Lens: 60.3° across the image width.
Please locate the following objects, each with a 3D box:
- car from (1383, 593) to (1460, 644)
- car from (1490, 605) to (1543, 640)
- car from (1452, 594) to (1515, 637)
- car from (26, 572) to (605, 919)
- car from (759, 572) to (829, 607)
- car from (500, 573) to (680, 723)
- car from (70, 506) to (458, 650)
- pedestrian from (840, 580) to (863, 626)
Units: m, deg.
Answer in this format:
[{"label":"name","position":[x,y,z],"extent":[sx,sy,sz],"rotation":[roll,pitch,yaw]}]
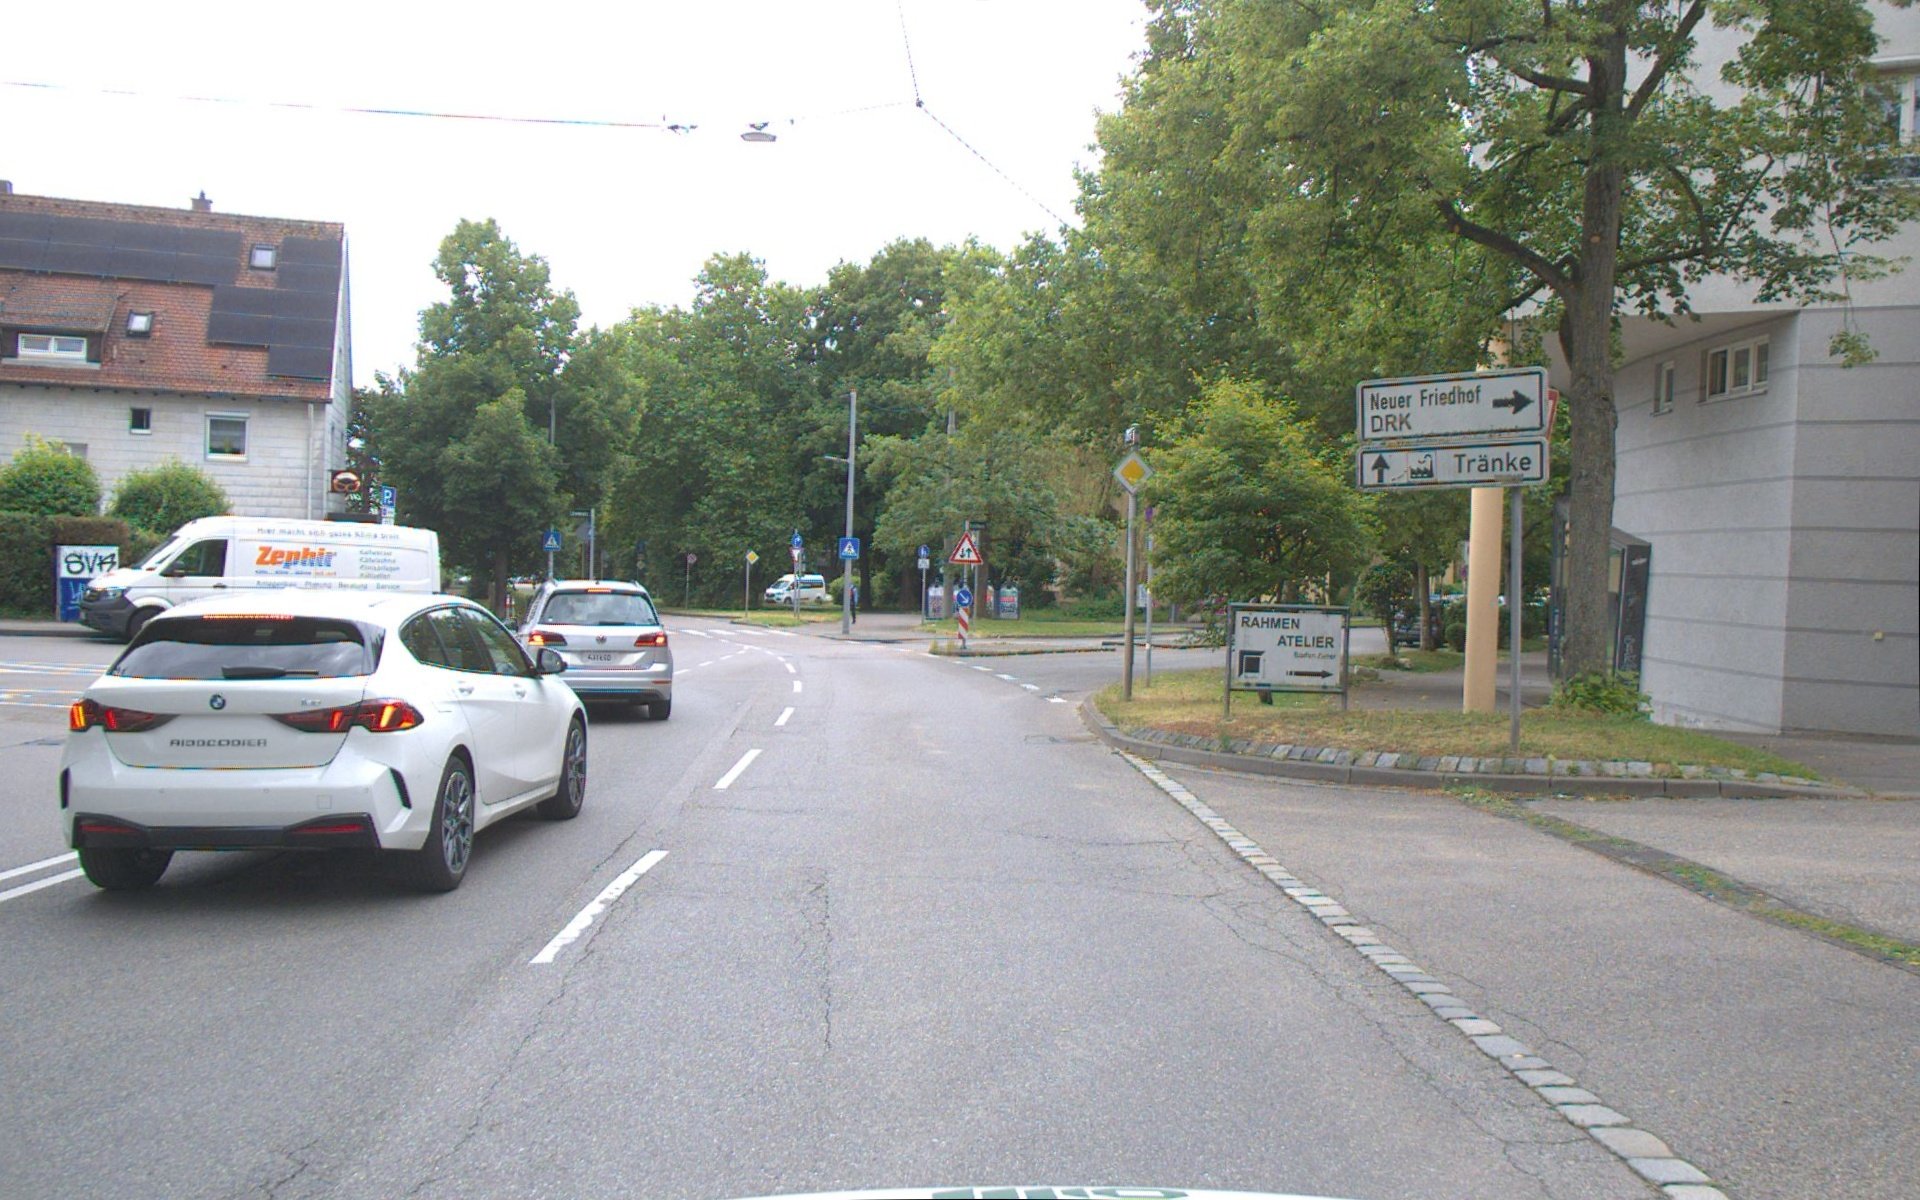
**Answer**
[{"label":"car","position":[16.375,0.652,58.521],"extent":[1.838,1.595,4.015],"rotation":[5,1,26]},{"label":"car","position":[25.250,1.030,75.042],"extent":[1.612,1.399,3.438],"rotation":[5,1,29]},{"label":"car","position":[21.766,0.675,68.707],"extent":[1.744,1.625,4.243],"rotation":[4,1,27]},{"label":"car","position":[-3.327,0.641,9.499],"extent":[1.759,1.544,4.206],"rotation":[0,0,-1]},{"label":"car","position":[-12.535,-0.777,124.996],"extent":[2.096,2.336,5.363],"rotation":[5,1,37]},{"label":"car","position":[-4.433,0.503,20.106],"extent":[1.889,1.601,3.989],"rotation":[1,1,-11]},{"label":"car","position":[-13.966,-0.384,33.570],"extent":[6.912,2.565,2.056],"rotation":[2,2,-39]},{"label":"pedestrian","position":[-4.747,0.131,72.341],"extent":[0.906,1.903,1.018],"rotation":[-2,3,-5]}]
